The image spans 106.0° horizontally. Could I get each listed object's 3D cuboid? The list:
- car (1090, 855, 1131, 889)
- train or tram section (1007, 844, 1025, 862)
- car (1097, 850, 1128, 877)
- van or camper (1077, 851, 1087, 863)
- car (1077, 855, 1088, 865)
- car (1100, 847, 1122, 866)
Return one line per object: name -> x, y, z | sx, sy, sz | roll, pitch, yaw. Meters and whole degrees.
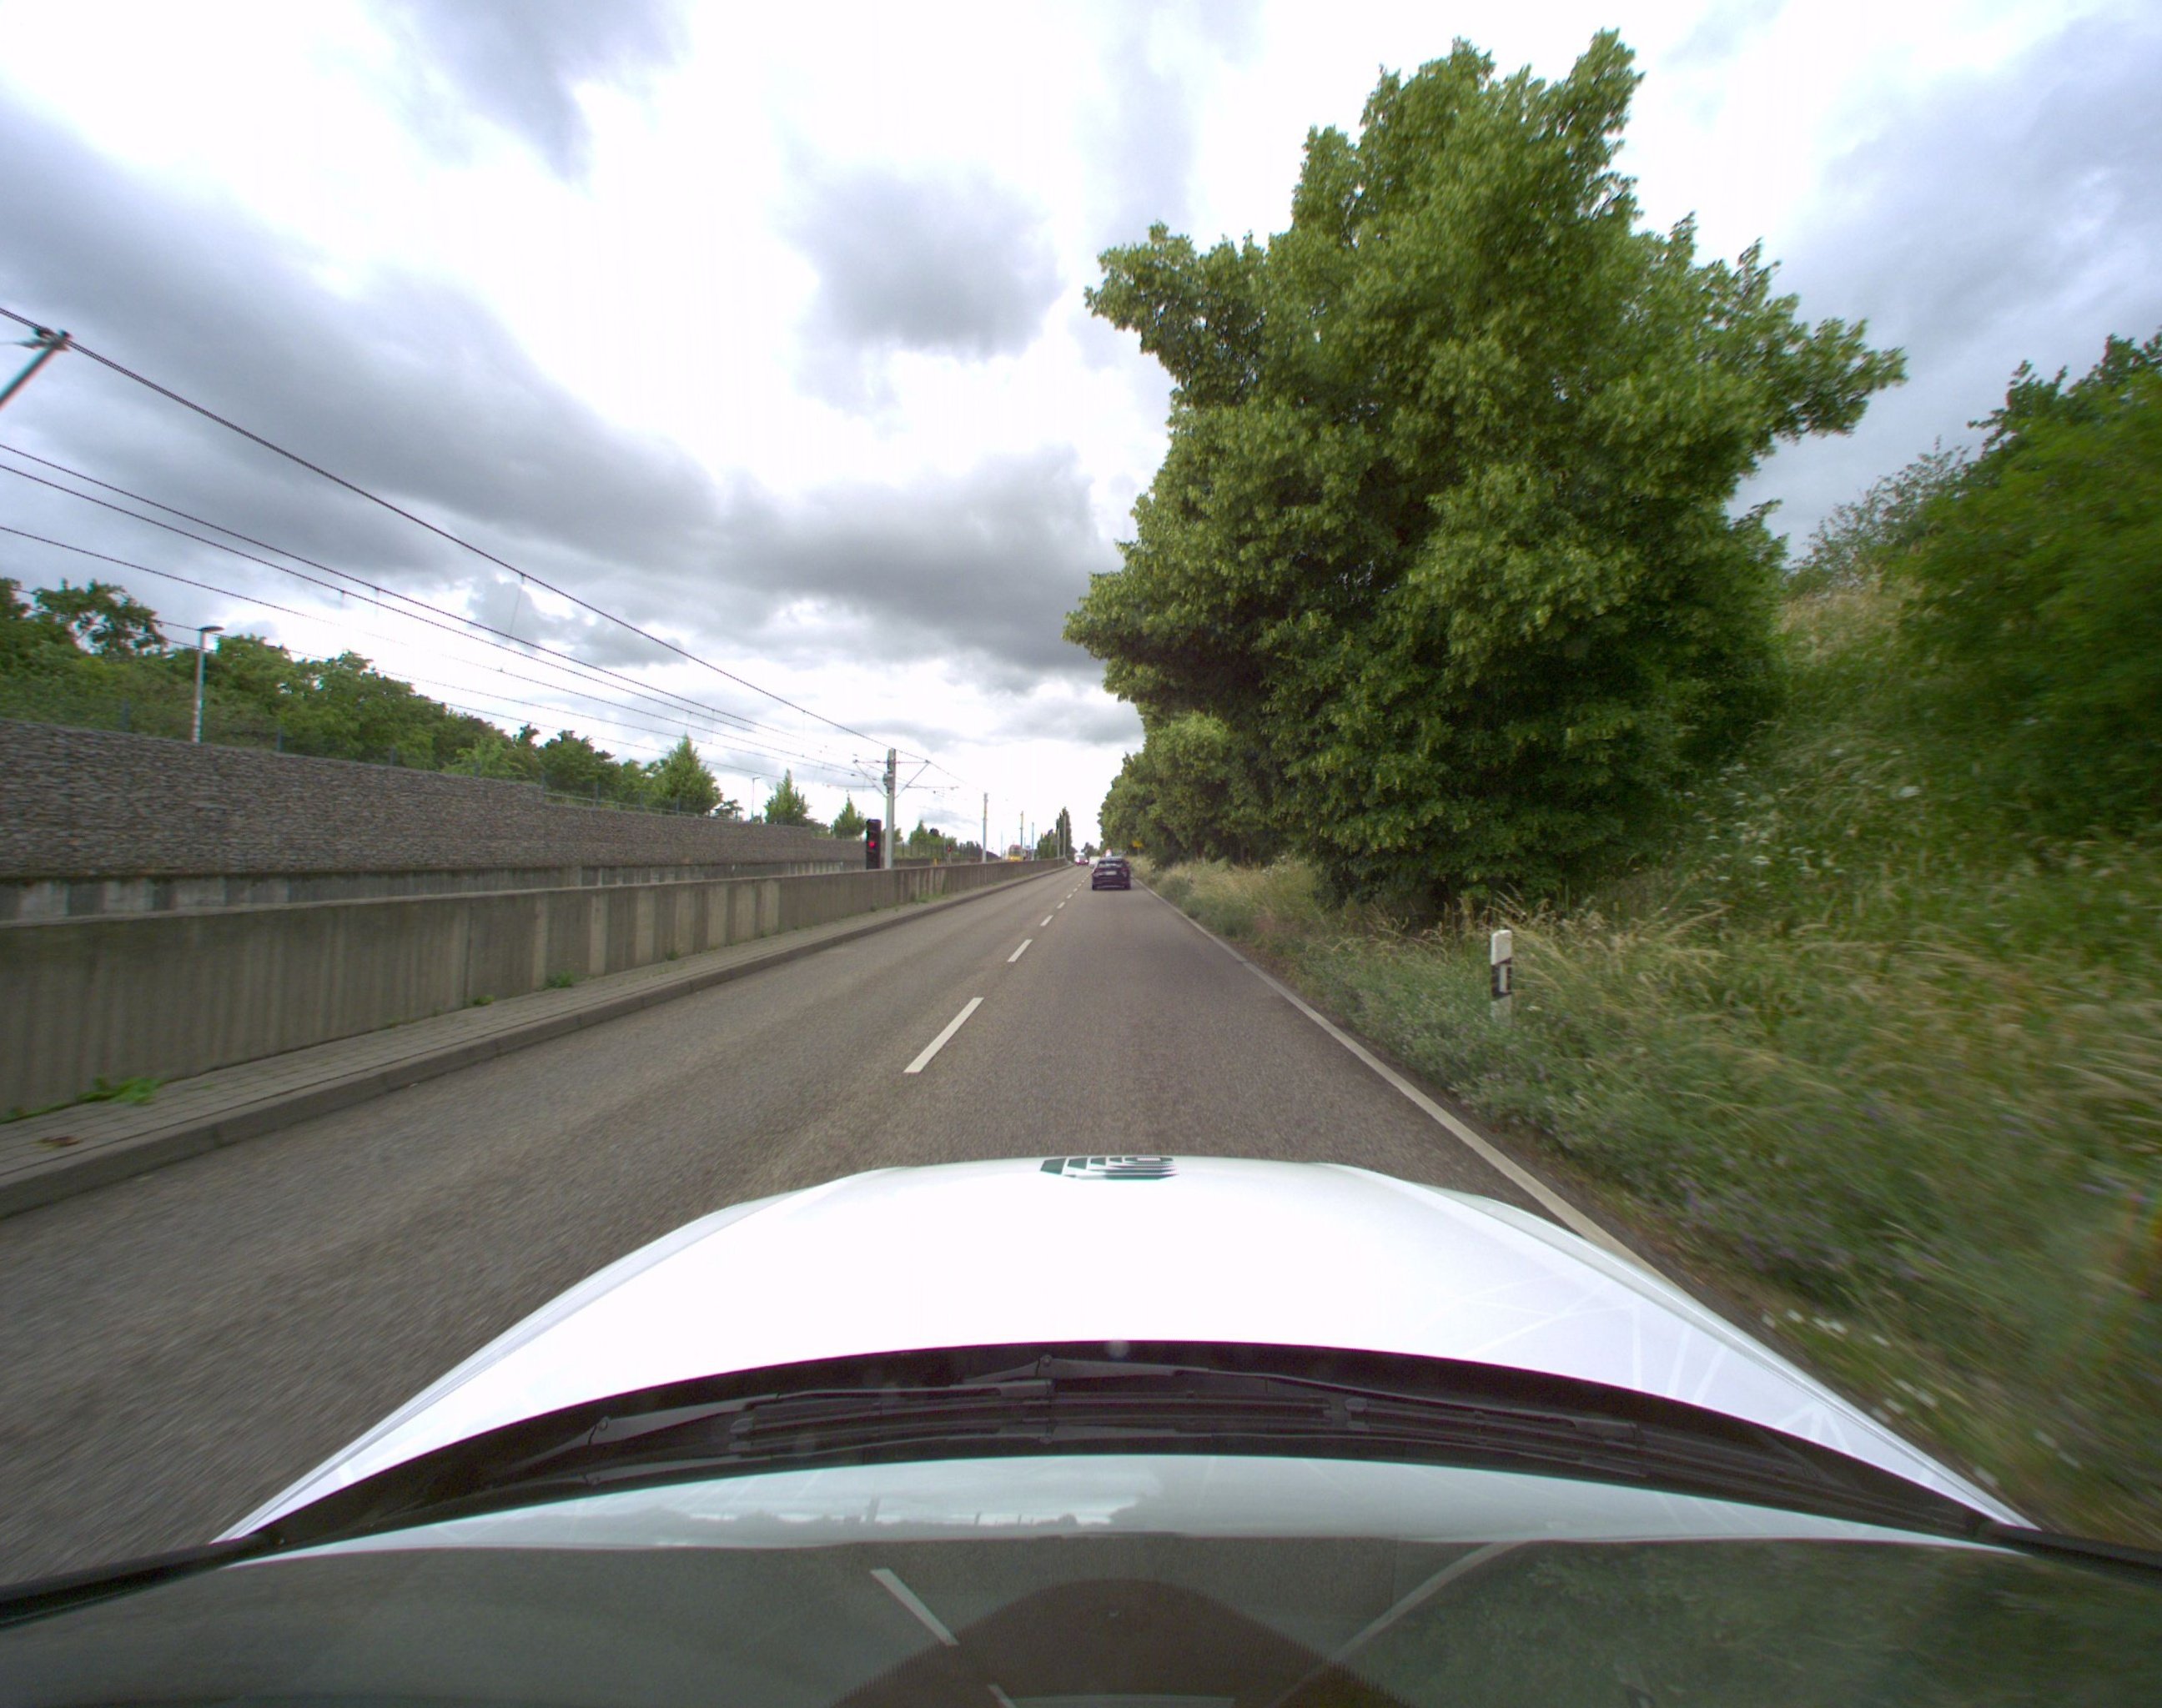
car -> 1.356, 0.803, 37.733 | 1.775, 1.468, 4.002 | -1, 0, 2
train or tram section -> -12.532, -0.021, 156.785 | 2.808, 3.117, 18.870 | -1, -1, -6
car -> 2.114, 0.636, 54.992 | 1.986, 1.753, 4.002 | -1, 0, 2
van or camper -> 0.263, 0.671, 176.619 | 2.075, 2.396, 6.139 | -1, 0, 1
car -> 0.242, 0.881, 124.408 | 1.657, 1.545, 3.953 | -1, 0, 1
car -> 2.852, 0.233, 76.996 | 1.986, 1.740, 4.001 | -1, -1, 2
